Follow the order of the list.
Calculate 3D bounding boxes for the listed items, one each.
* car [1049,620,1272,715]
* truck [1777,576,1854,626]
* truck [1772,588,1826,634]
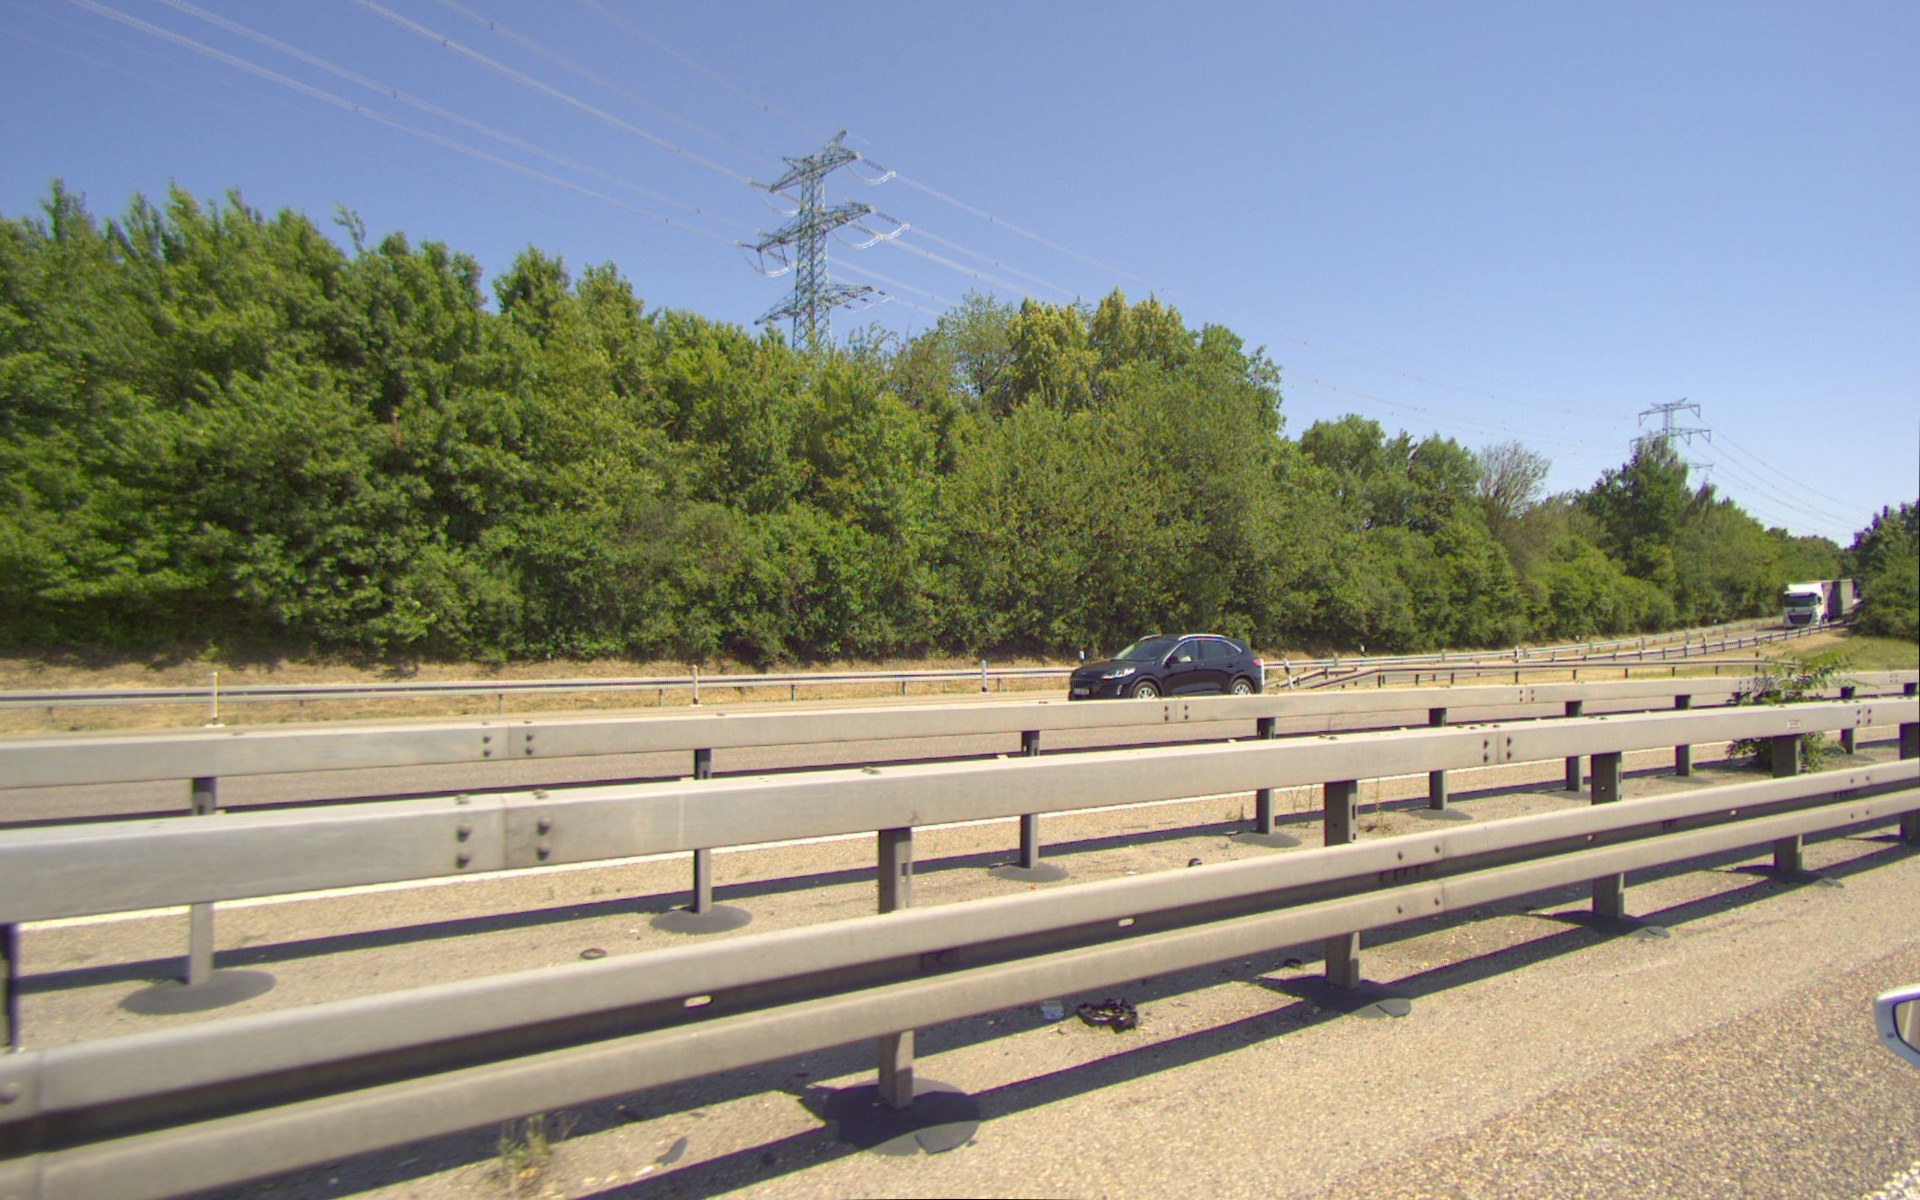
[{"bbox_3d":[4.305,1.393,21.421,4.464,1.823,2.145,2,-3,-33],"label":"car"},{"bbox_3d":[80.770,-0.029,94.694,14.420,4.399,2.972,-1,0,-39],"label":"truck"},{"bbox_3d":[75.202,0.957,90.075,4.286,3.948,2.921,-1,0,-39],"label":"truck"}]
